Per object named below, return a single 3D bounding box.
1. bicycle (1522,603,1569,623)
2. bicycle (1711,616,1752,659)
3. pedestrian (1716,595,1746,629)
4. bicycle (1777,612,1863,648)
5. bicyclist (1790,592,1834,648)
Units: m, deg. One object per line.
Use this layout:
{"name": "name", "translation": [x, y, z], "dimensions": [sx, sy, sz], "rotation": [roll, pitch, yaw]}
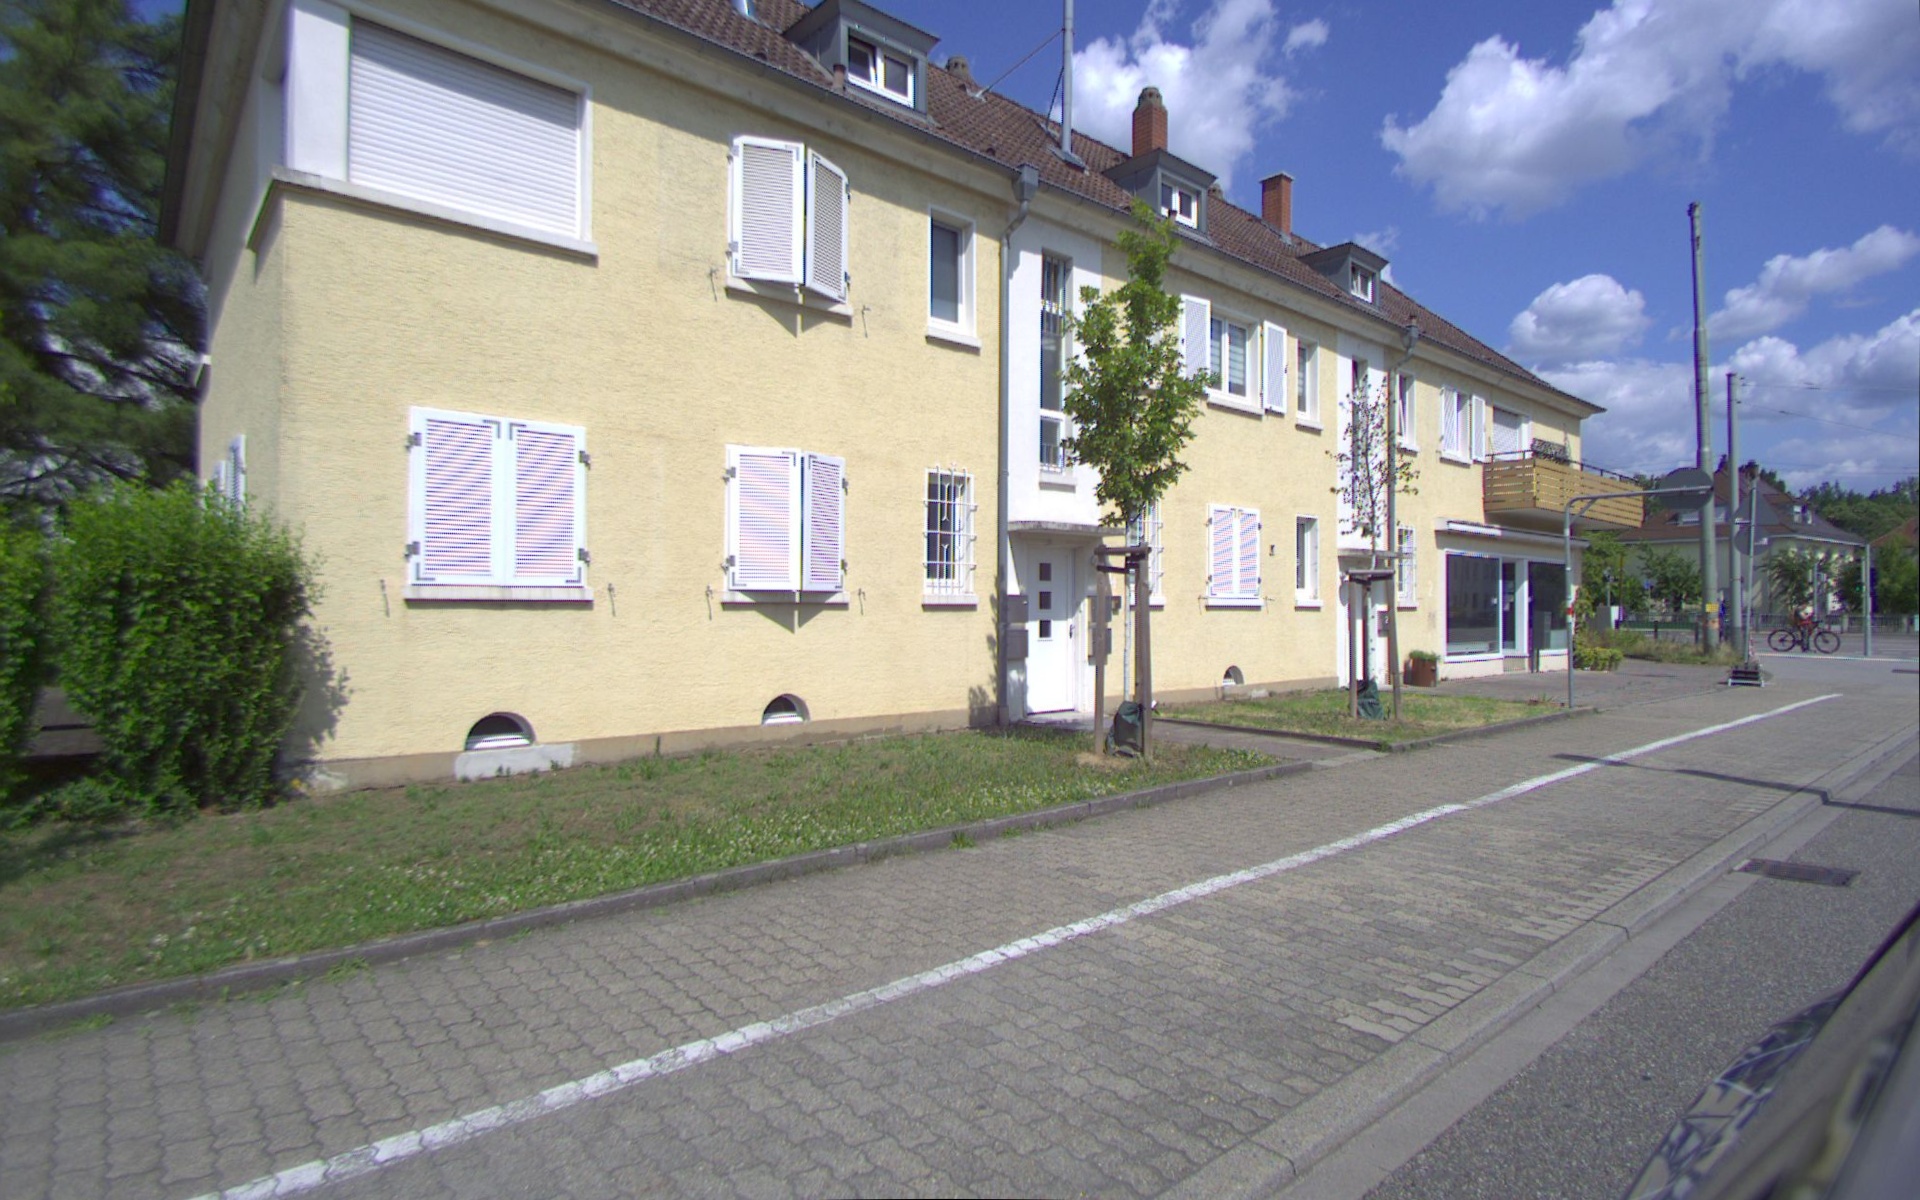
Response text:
{"name": "bicycle", "translation": [41.098, 0.900, 71.057], "dimensions": [0.612, 1.351, 2.797], "rotation": [1, -1, -41]}
{"name": "bicycle", "translation": [21.470, 1.014, 28.189], "dimensions": [0.590, 1.110, 2.253], "rotation": [0, 0, 30]}
{"name": "pedestrian", "translation": [40.349, 0.643, 52.975], "dimensions": [1.022, 1.757, 1.032], "rotation": [1, -1, -38]}
{"name": "bicycle", "translation": [28.046, 0.964, 33.040], "dimensions": [2.016, 1.116, 0.708], "rotation": [0, 0, 30]}
{"name": "bicyclist", "translation": [27.886, 0.643, 33.129], "dimensions": [0.952, 1.797, 0.712], "rotation": [0, -1, 30]}
